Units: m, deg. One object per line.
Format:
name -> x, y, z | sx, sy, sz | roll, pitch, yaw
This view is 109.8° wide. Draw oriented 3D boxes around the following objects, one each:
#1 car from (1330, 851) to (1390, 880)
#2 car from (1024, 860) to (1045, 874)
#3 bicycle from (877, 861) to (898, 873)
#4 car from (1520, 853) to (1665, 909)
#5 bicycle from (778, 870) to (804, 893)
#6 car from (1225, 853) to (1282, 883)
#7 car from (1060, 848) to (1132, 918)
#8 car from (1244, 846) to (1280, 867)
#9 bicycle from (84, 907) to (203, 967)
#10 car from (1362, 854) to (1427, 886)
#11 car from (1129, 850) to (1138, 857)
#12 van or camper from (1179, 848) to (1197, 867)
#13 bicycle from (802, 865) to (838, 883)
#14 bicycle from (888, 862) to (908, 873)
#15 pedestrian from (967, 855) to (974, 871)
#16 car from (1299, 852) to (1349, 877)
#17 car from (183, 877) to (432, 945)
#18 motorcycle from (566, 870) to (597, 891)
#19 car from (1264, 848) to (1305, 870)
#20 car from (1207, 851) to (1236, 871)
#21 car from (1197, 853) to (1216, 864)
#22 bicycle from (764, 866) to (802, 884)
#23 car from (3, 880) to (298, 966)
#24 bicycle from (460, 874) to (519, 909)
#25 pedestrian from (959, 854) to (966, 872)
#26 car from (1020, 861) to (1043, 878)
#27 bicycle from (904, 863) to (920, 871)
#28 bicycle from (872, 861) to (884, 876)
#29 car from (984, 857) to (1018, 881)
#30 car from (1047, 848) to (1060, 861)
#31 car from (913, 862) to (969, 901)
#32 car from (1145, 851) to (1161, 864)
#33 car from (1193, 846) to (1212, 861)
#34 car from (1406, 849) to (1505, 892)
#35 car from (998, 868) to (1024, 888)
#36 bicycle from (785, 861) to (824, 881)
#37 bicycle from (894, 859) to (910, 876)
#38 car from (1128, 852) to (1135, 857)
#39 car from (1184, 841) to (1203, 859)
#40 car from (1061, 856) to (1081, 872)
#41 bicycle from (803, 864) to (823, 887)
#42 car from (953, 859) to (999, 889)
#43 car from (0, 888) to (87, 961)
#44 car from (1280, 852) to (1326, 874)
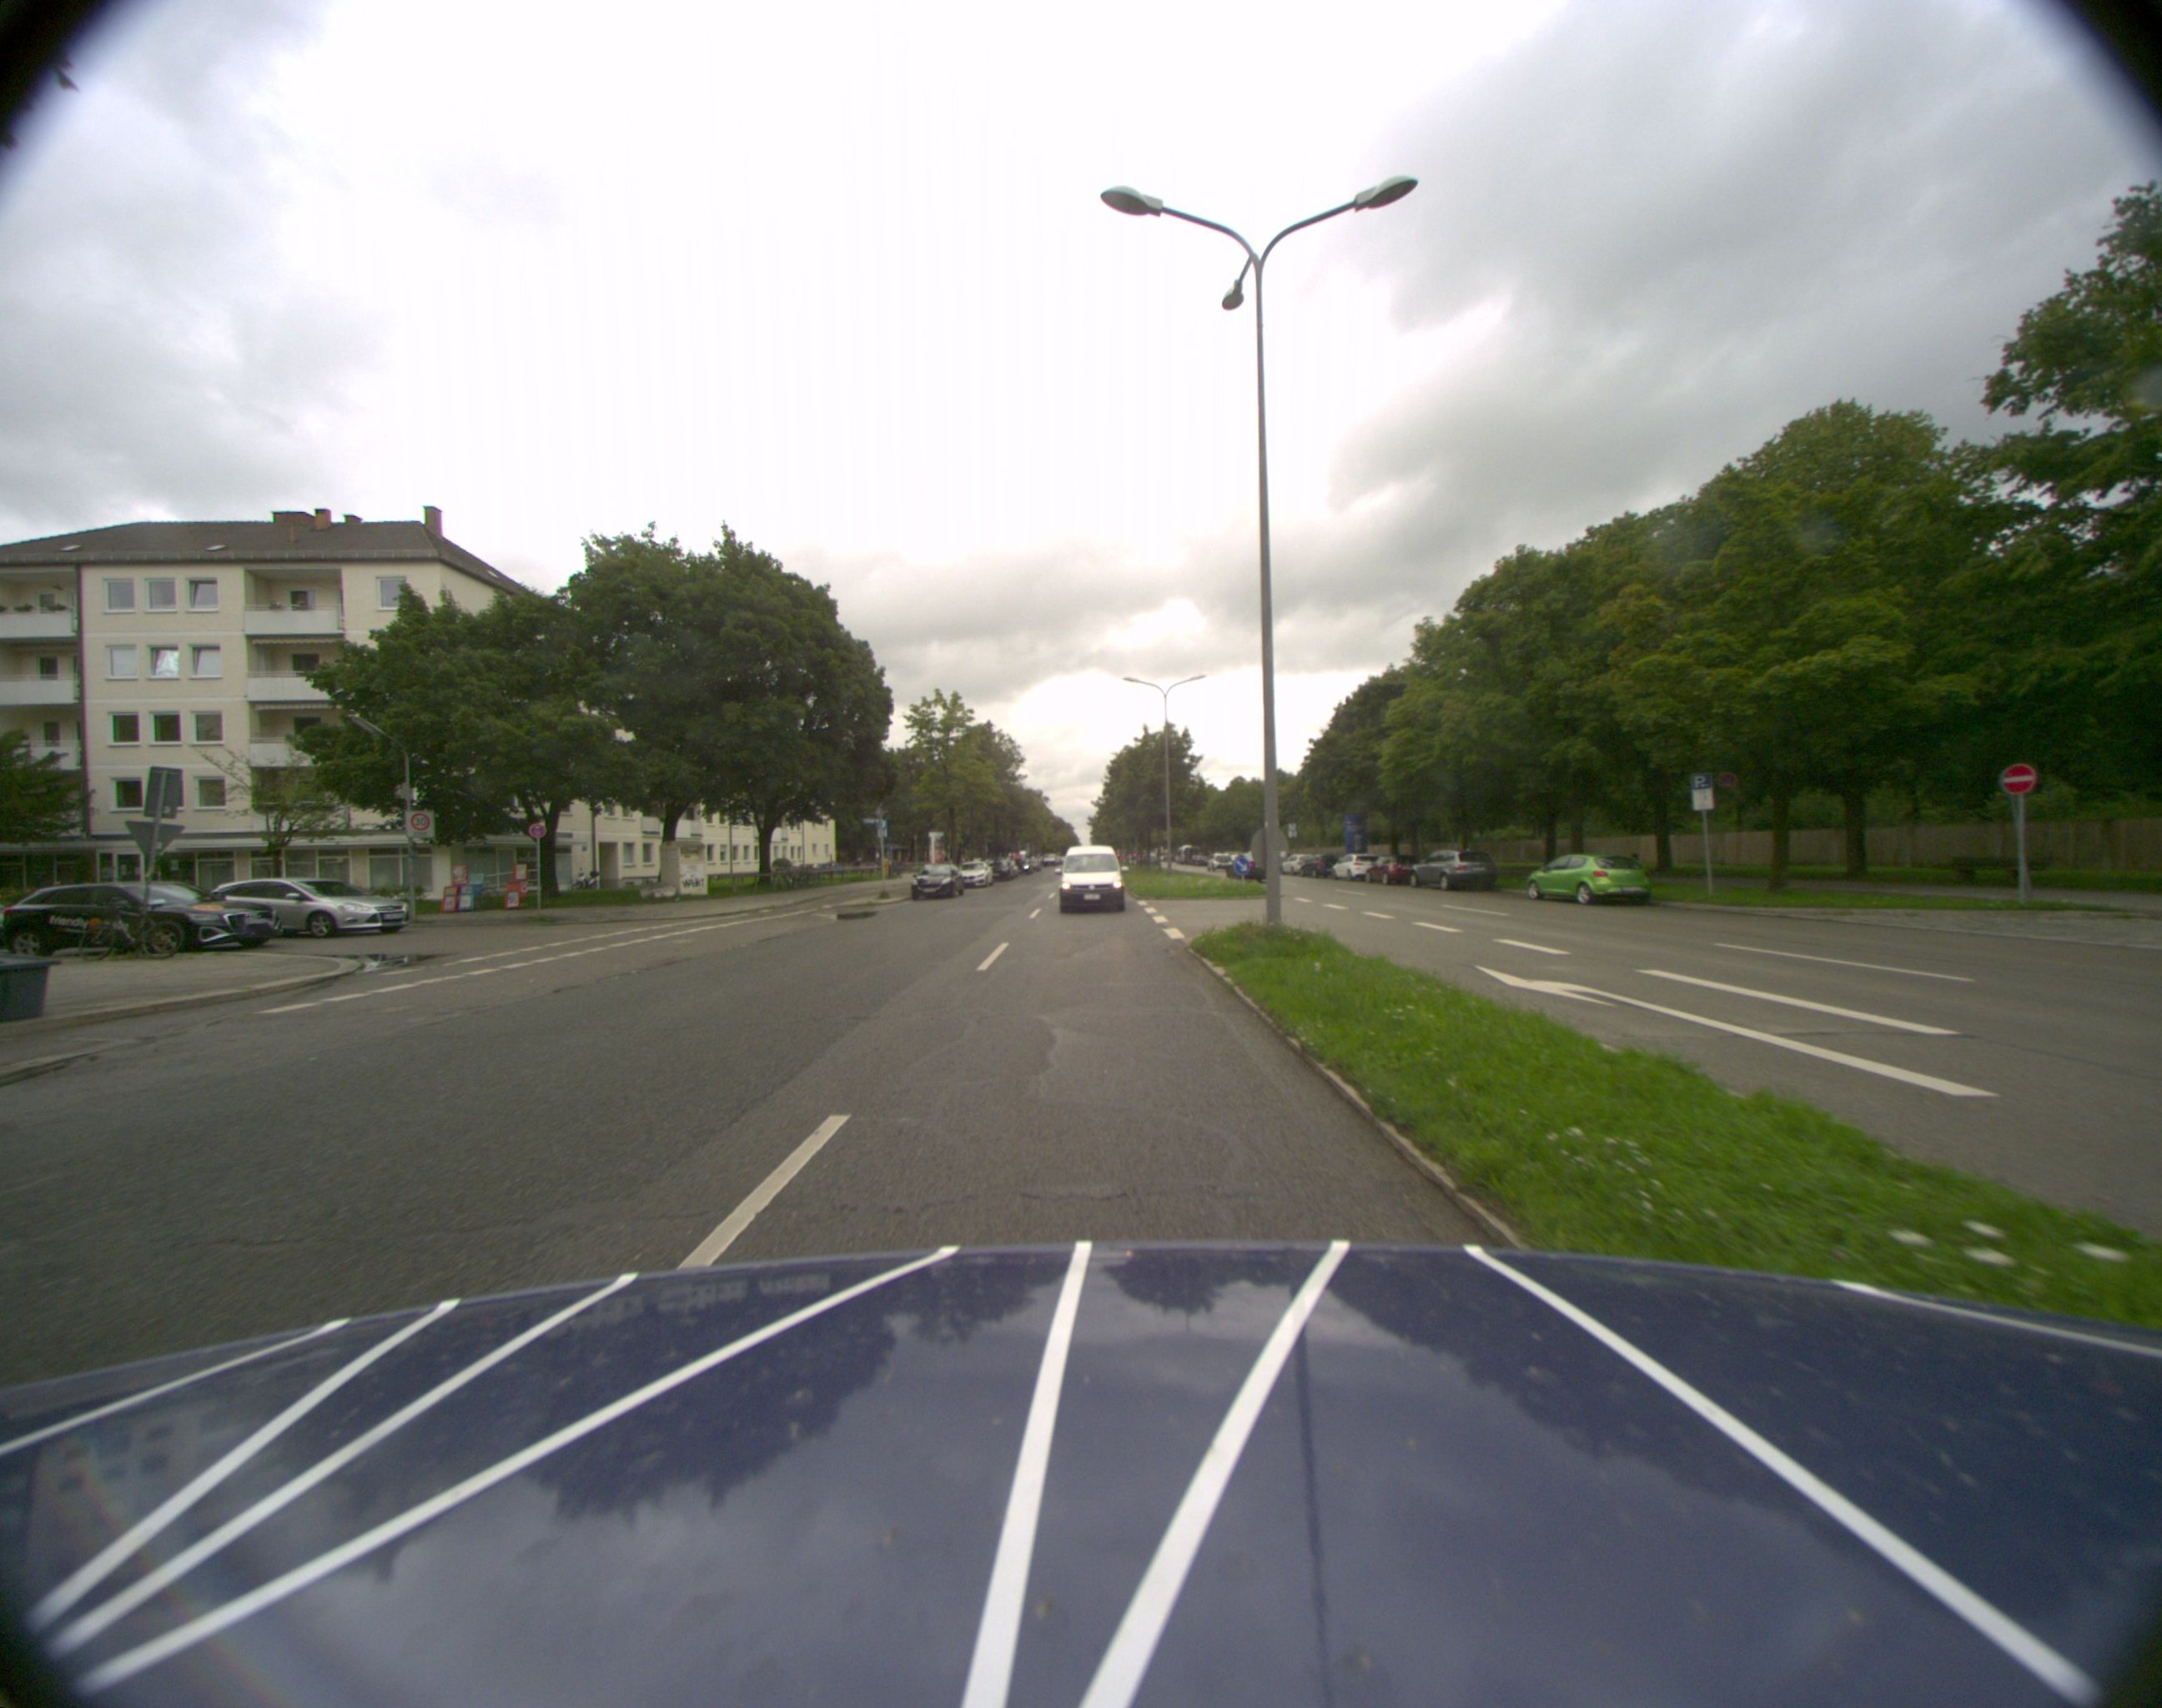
car -> 15.188, 0.590, 41.621 | 1.826, 1.468, 4.260 | 1, 0, 2
car -> -5.089, 1.408, 83.356 | 1.827, 1.460, 4.300 | -2, 0, 1
bicycle -> -15.965, 1.099, 62.711 | 1.599, 0.910, 0.498 | -2, 1, -4
car -> 14.763, 0.720, 22.210 | 1.644, 1.490, 4.000 | 0, 0, 2
bicycle -> -13.470, 1.260, 35.333 | 0.448, 1.009, 1.853 | -2, 0, 2
car -> 8.706, 0.660, 38.741 | 1.820, 1.440, 4.782 | 0, 0, 0
car -> 0.422, 0.746, 22.076 | 1.772, 1.742, 4.546 | -3, 0, 1
car -> 15.407, 0.219, 64.896 | 1.862, 1.761, 4.533 | 0, 0, -1
bicycle -> -17.101, 1.502, 13.868 | 1.543, 1.005, 0.554 | -1, 1, 4
car -> 14.939, 0.708, 36.385 | 1.654, 1.414, 3.687 | 1, 0, 2
car -> 13.108, -0.187, 190.165 | 1.866, 1.659, 4.500 | 1, 0, 1
van or camper -> 16.038, 0.503, 114.045 | 1.999, 2.791, 4.931 | 0, 0, -1
bicycle -> -16.201, 1.222, 47.188 | 2.032, 1.061, 0.663 | -2, 1, -4
bicycle -> -15.744, 1.174, 65.322 | 1.599, 0.910, 0.498 | 0, 1, -4
pedestrian -> -10.907, 0.891, 75.086 | 0.560, 1.595, 0.520 | -2, 1, -19
car -> 15.082, 0.628, 47.406 | 1.826, 1.438, 3.787 | 1, 0, -1
car -> -18.956, 1.370, 18.749 | 4.217, 1.434, 2.000 | -2, 0, 4
motorcycle -> -27.931, 1.492, 42.538 | 0.606, 1.113, 1.622 | -1, 0, 2
car -> 15.639, 0.347, 58.573 | 2.007, 1.607, 4.041 | 0, 0, -1
car -> 11.830, 0.577, 64.242 | 1.826, 1.544, 3.721 | -2, 0, 2
car -> 15.955, 0.538, 96.822 | 1.717, 1.401, 4.041 | 0, 0, -1
bicycle -> -18.537, 1.317, 47.249 | 2.032, 1.061, 0.663 | -2, 1, -4
car -> -19.278, 1.396, 15.880 | 3.935, 1.511, 1.730 | -2, 1, -1
bicycle -> -20.669, 1.303, 26.569 | 1.473, 1.149, 0.699 | -2, 1, -1
pedestrian -> -11.658, 0.875, 74.944 | 0.560, 1.745, 0.656 | -2, 1, -19
car -> -4.455, 1.421, 69.136 | 1.827, 1.371, 4.300 | -2, 0, 0
bicycle -> -15.488, 1.171, 69.741 | 1.392, 0.709, 0.498 | 1, 1, -4
bicycle -> -15.187, 1.061, 56.782 | 0.466, 1.110, 1.253 | -2, 1, 2
car -> -5.494, 0.978, 52.487 | 1.826, 1.502, 4.157 | -2, 0, 1
car -> -4.343, 0.018, 121.152 | 1.827, 1.939, 4.300 | -2, 0, 1
car -> -5.861, 1.100, 32.232 | 1.648, 1.468, 3.956 | -2, 0, 0
car -> 9.709, 0.476, 102.587 | 1.826, 1.580, 4.501 | -2, 0, 1
car -> 16.213, -0.073, 101.588 | 1.998, 2.002, 4.000 | -2, 0, 0
car -> 14.921, 0.611, 30.576 | 1.826, 1.621, 4.456 | 0, 0, 1
car -> -5.421, 1.829, 59.237 | 1.617, 1.371, 3.926 | -2, 0, 0
bicycle -> -16.071, 0.990, 44.181 | 2.032, 1.061, 0.663 | -2, 1, -4
bicycle -> -13.078, 0.995, 55.546 | 0.545, 1.182, 2.076 | -2, 0, 2
car -> 14.092, 0.215, 212.263 | 1.866, 1.447, 4.500 | 1, 0, 1
car -> 16.187, -0.526, 109.138 | 1.999, 2.576, 4.499 | 0, 0, -1
car -> -1.022, 1.050, 81.956 | 1.984, 1.591, 4.402 | 1, 0, 1
bicycle -> -13.487, 1.070, 38.224 | 0.470, 1.049, 1.767 | 1, 1, -3
car -> -5.818, 1.072, 42.732 | 1.826, 1.428, 4.287 | -3, 0, 1
car -> -24.306, 1.534, 16.015 | 3.997, 1.434, 2.000 | -2, 0, -1
car -> 15.327, 0.586, 52.624 | 1.826, 1.461, 4.300 | 0, 0, -1
